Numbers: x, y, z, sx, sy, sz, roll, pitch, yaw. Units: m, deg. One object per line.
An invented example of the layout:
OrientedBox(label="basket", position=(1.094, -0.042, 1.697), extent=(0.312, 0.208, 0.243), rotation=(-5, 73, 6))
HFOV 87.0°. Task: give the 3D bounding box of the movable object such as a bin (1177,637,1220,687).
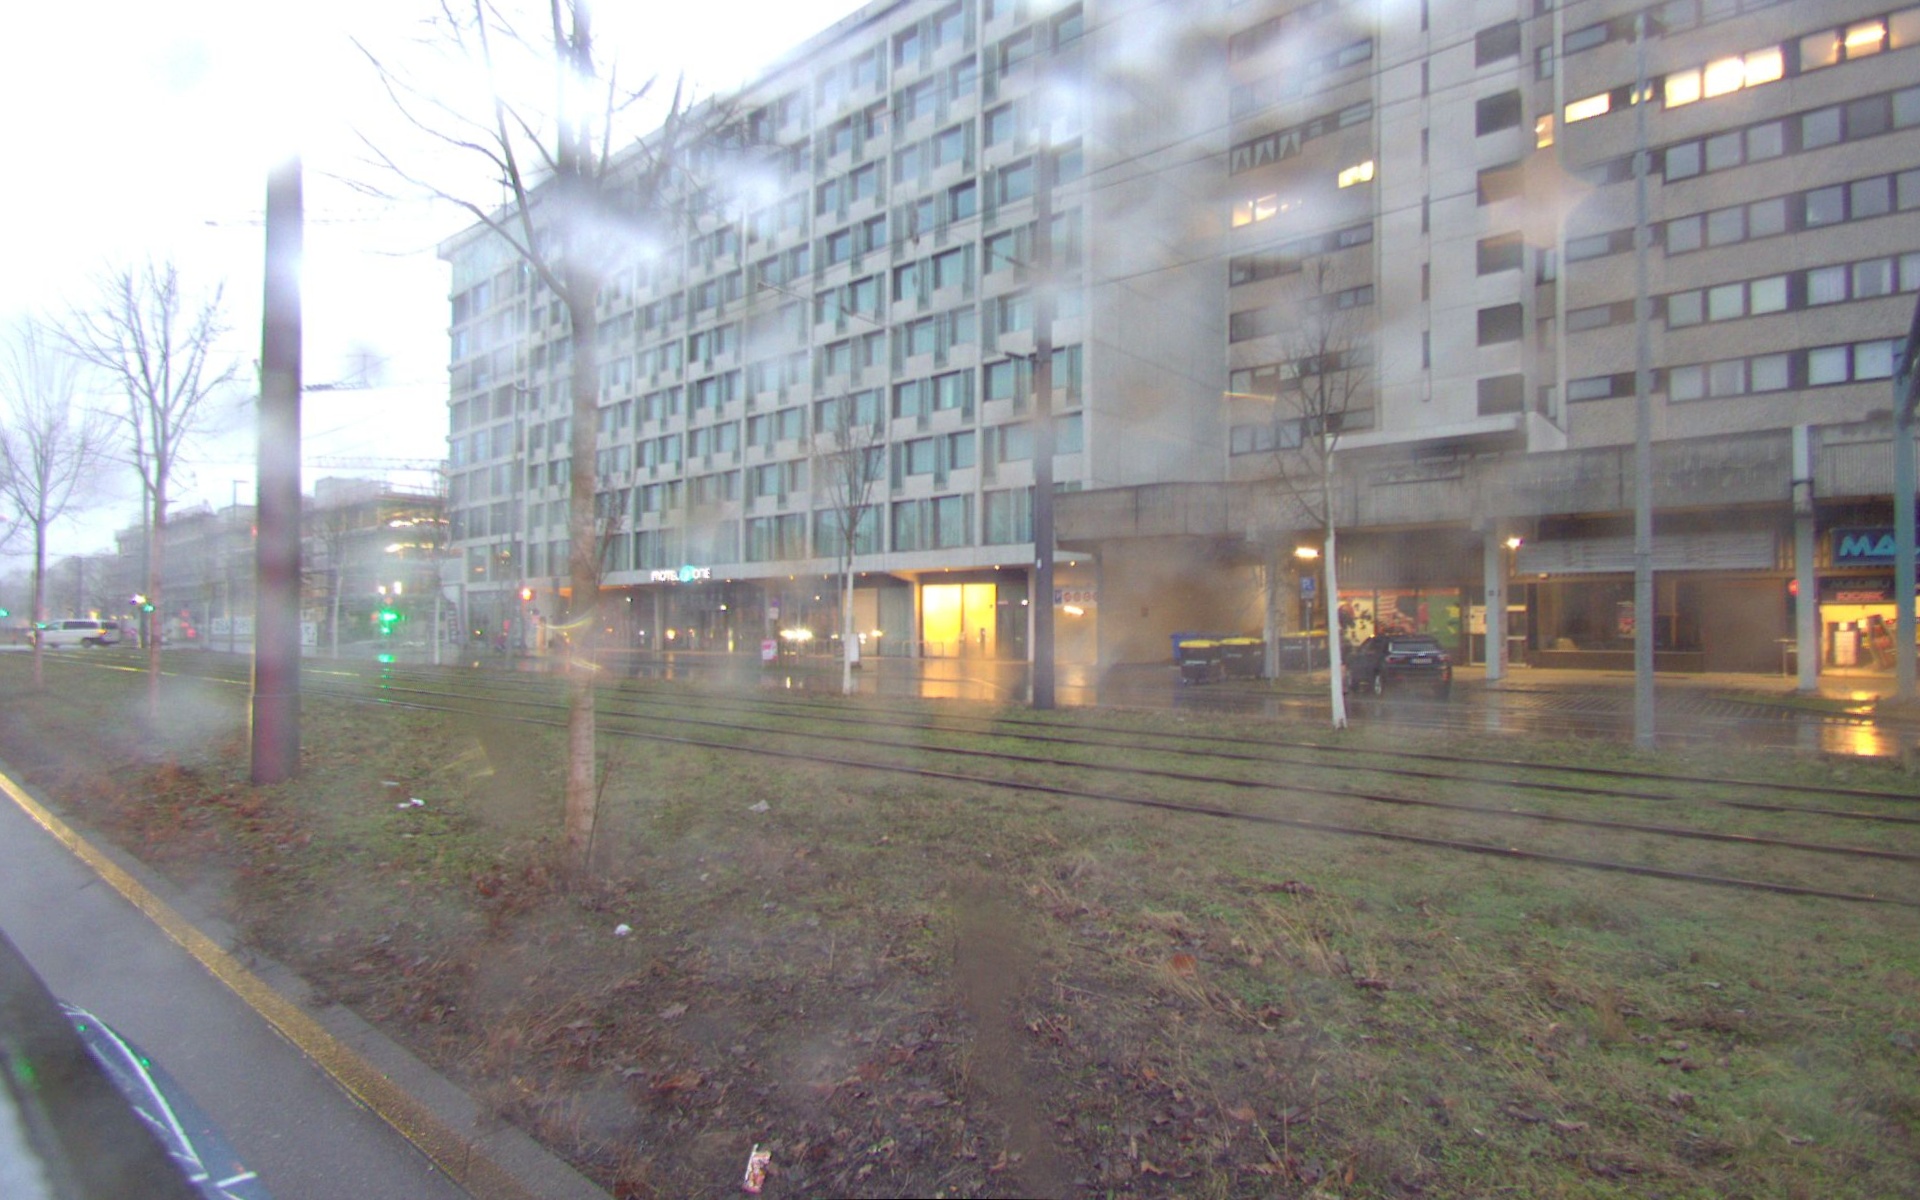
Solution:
OrientedBox(label="movable object such as a bin", position=(7.335, 1.887, 31.102), extent=(1.027, 1.437, 1.063), rotation=(-1, 0, 30))

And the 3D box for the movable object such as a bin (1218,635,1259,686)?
OrientedBox(label="movable object such as a bin", position=(8.690, 1.859, 31.556), extent=(1.008, 1.512, 1.042), rotation=(-1, 0, 30))

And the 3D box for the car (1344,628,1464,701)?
OrientedBox(label="car", position=(11.970, 1.684, 27.593), extent=(1.962, 1.706, 4.131), rotation=(-1, 0, 9))

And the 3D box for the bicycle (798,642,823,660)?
OrientedBox(label="bicycle", position=(-7.838, 2.688, 53.190), extent=(0.465, 0.860, 1.332), rotation=(-1, 0, 39))

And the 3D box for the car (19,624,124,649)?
OrientedBox(label="car", position=(-60.109, 2.465, 68.529), extent=(4.961, 1.682, 2.093), rotation=(0, -2, -11))
